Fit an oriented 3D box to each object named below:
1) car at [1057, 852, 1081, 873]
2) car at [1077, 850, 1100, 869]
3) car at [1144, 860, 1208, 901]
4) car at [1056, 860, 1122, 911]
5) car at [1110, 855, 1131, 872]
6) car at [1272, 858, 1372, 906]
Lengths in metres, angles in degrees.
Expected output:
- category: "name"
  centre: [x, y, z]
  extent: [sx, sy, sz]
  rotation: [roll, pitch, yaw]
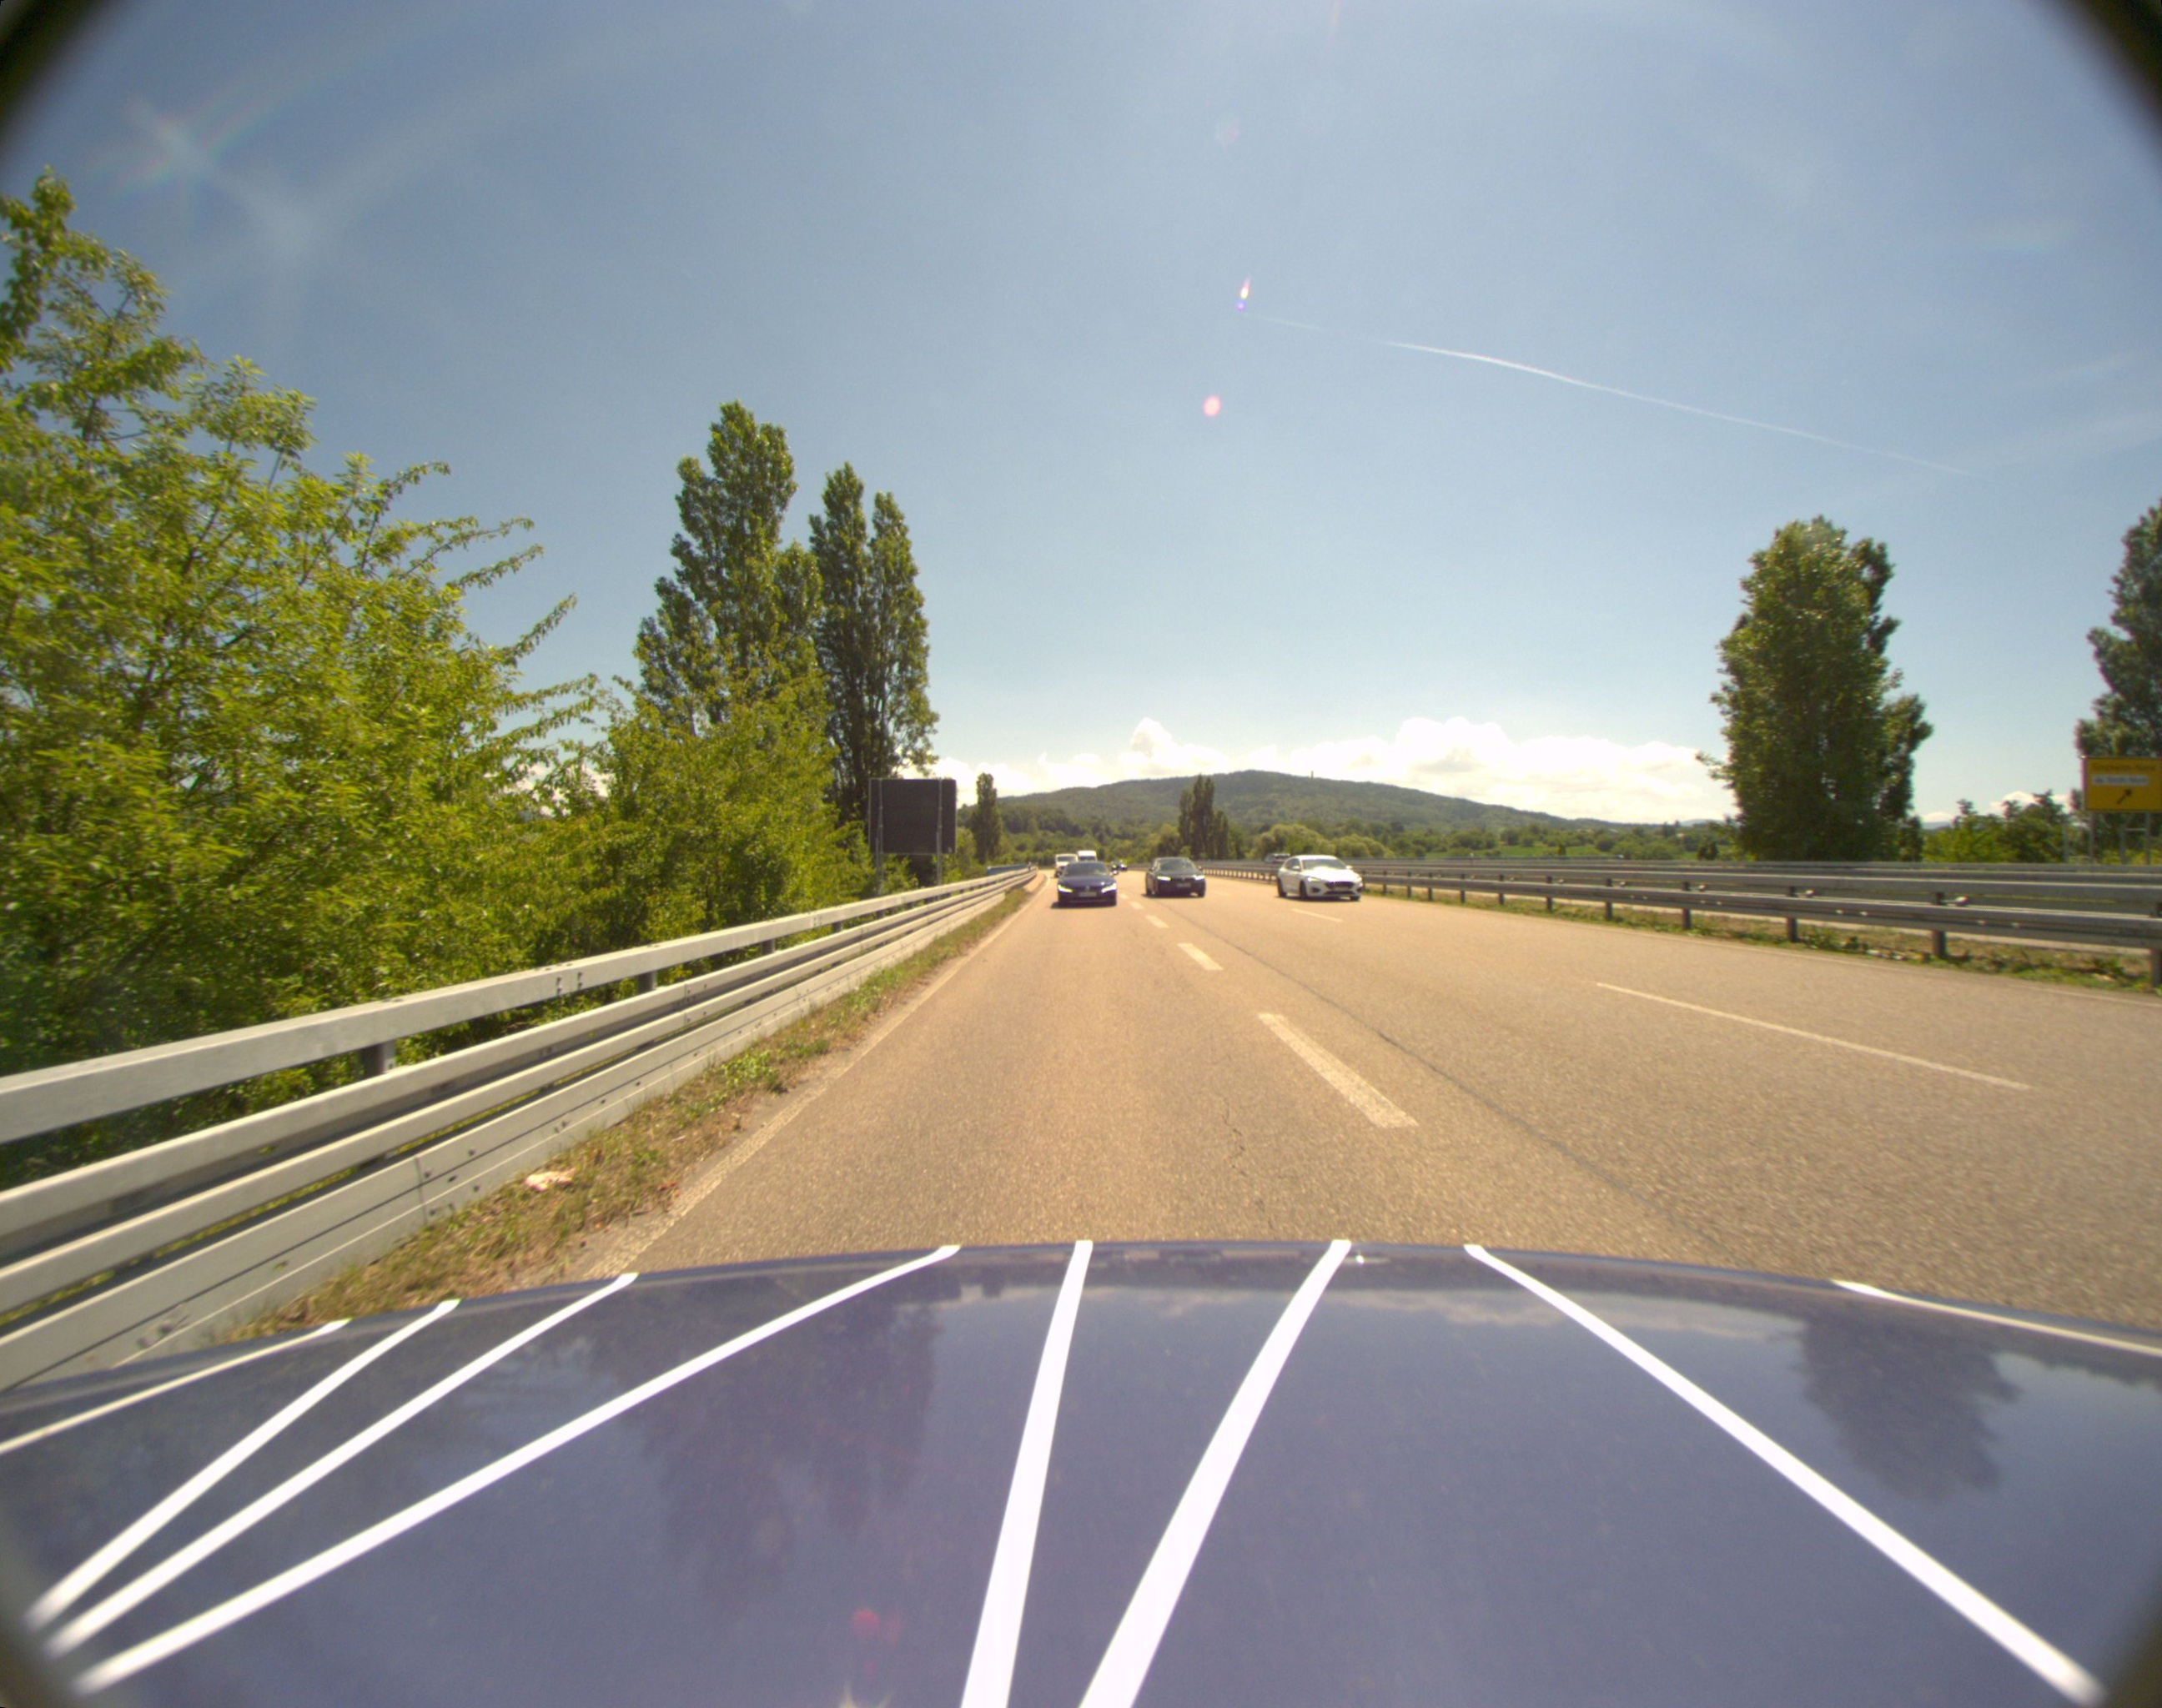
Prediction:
- category: "car"
  centre: [-1.059, 0.686, 64.513]
  extent: [1.885, 1.723, 4.468]
  rotation: [-1, 0, -3]
- category: "car"
  centre: [0.803, 0.585, 82.111]
  extent: [2.009, 1.987, 4.577]
  rotation: [-1, 0, -5]
- category: "car"
  centre: [3.531, 0.948, 29.004]
  extent: [1.846, 1.399, 4.470]
  rotation: [-1, 0, 0]
- category: "car"
  centre: [0.171, 0.967, 25.160]
  extent: [1.846, 1.399, 4.468]
  rotation: [-2, 1, -4]
- category: "car"
  centre: [4.738, 1.092, 91.582]
  extent: [2.008, 1.987, 4.578]
  rotation: [-1, 0, -2]
- category: "car"
  centre: [7.928, 0.857, 25.448]
  extent: [1.846, 1.399, 4.469]
  rotation: [-1, 0, -1]
